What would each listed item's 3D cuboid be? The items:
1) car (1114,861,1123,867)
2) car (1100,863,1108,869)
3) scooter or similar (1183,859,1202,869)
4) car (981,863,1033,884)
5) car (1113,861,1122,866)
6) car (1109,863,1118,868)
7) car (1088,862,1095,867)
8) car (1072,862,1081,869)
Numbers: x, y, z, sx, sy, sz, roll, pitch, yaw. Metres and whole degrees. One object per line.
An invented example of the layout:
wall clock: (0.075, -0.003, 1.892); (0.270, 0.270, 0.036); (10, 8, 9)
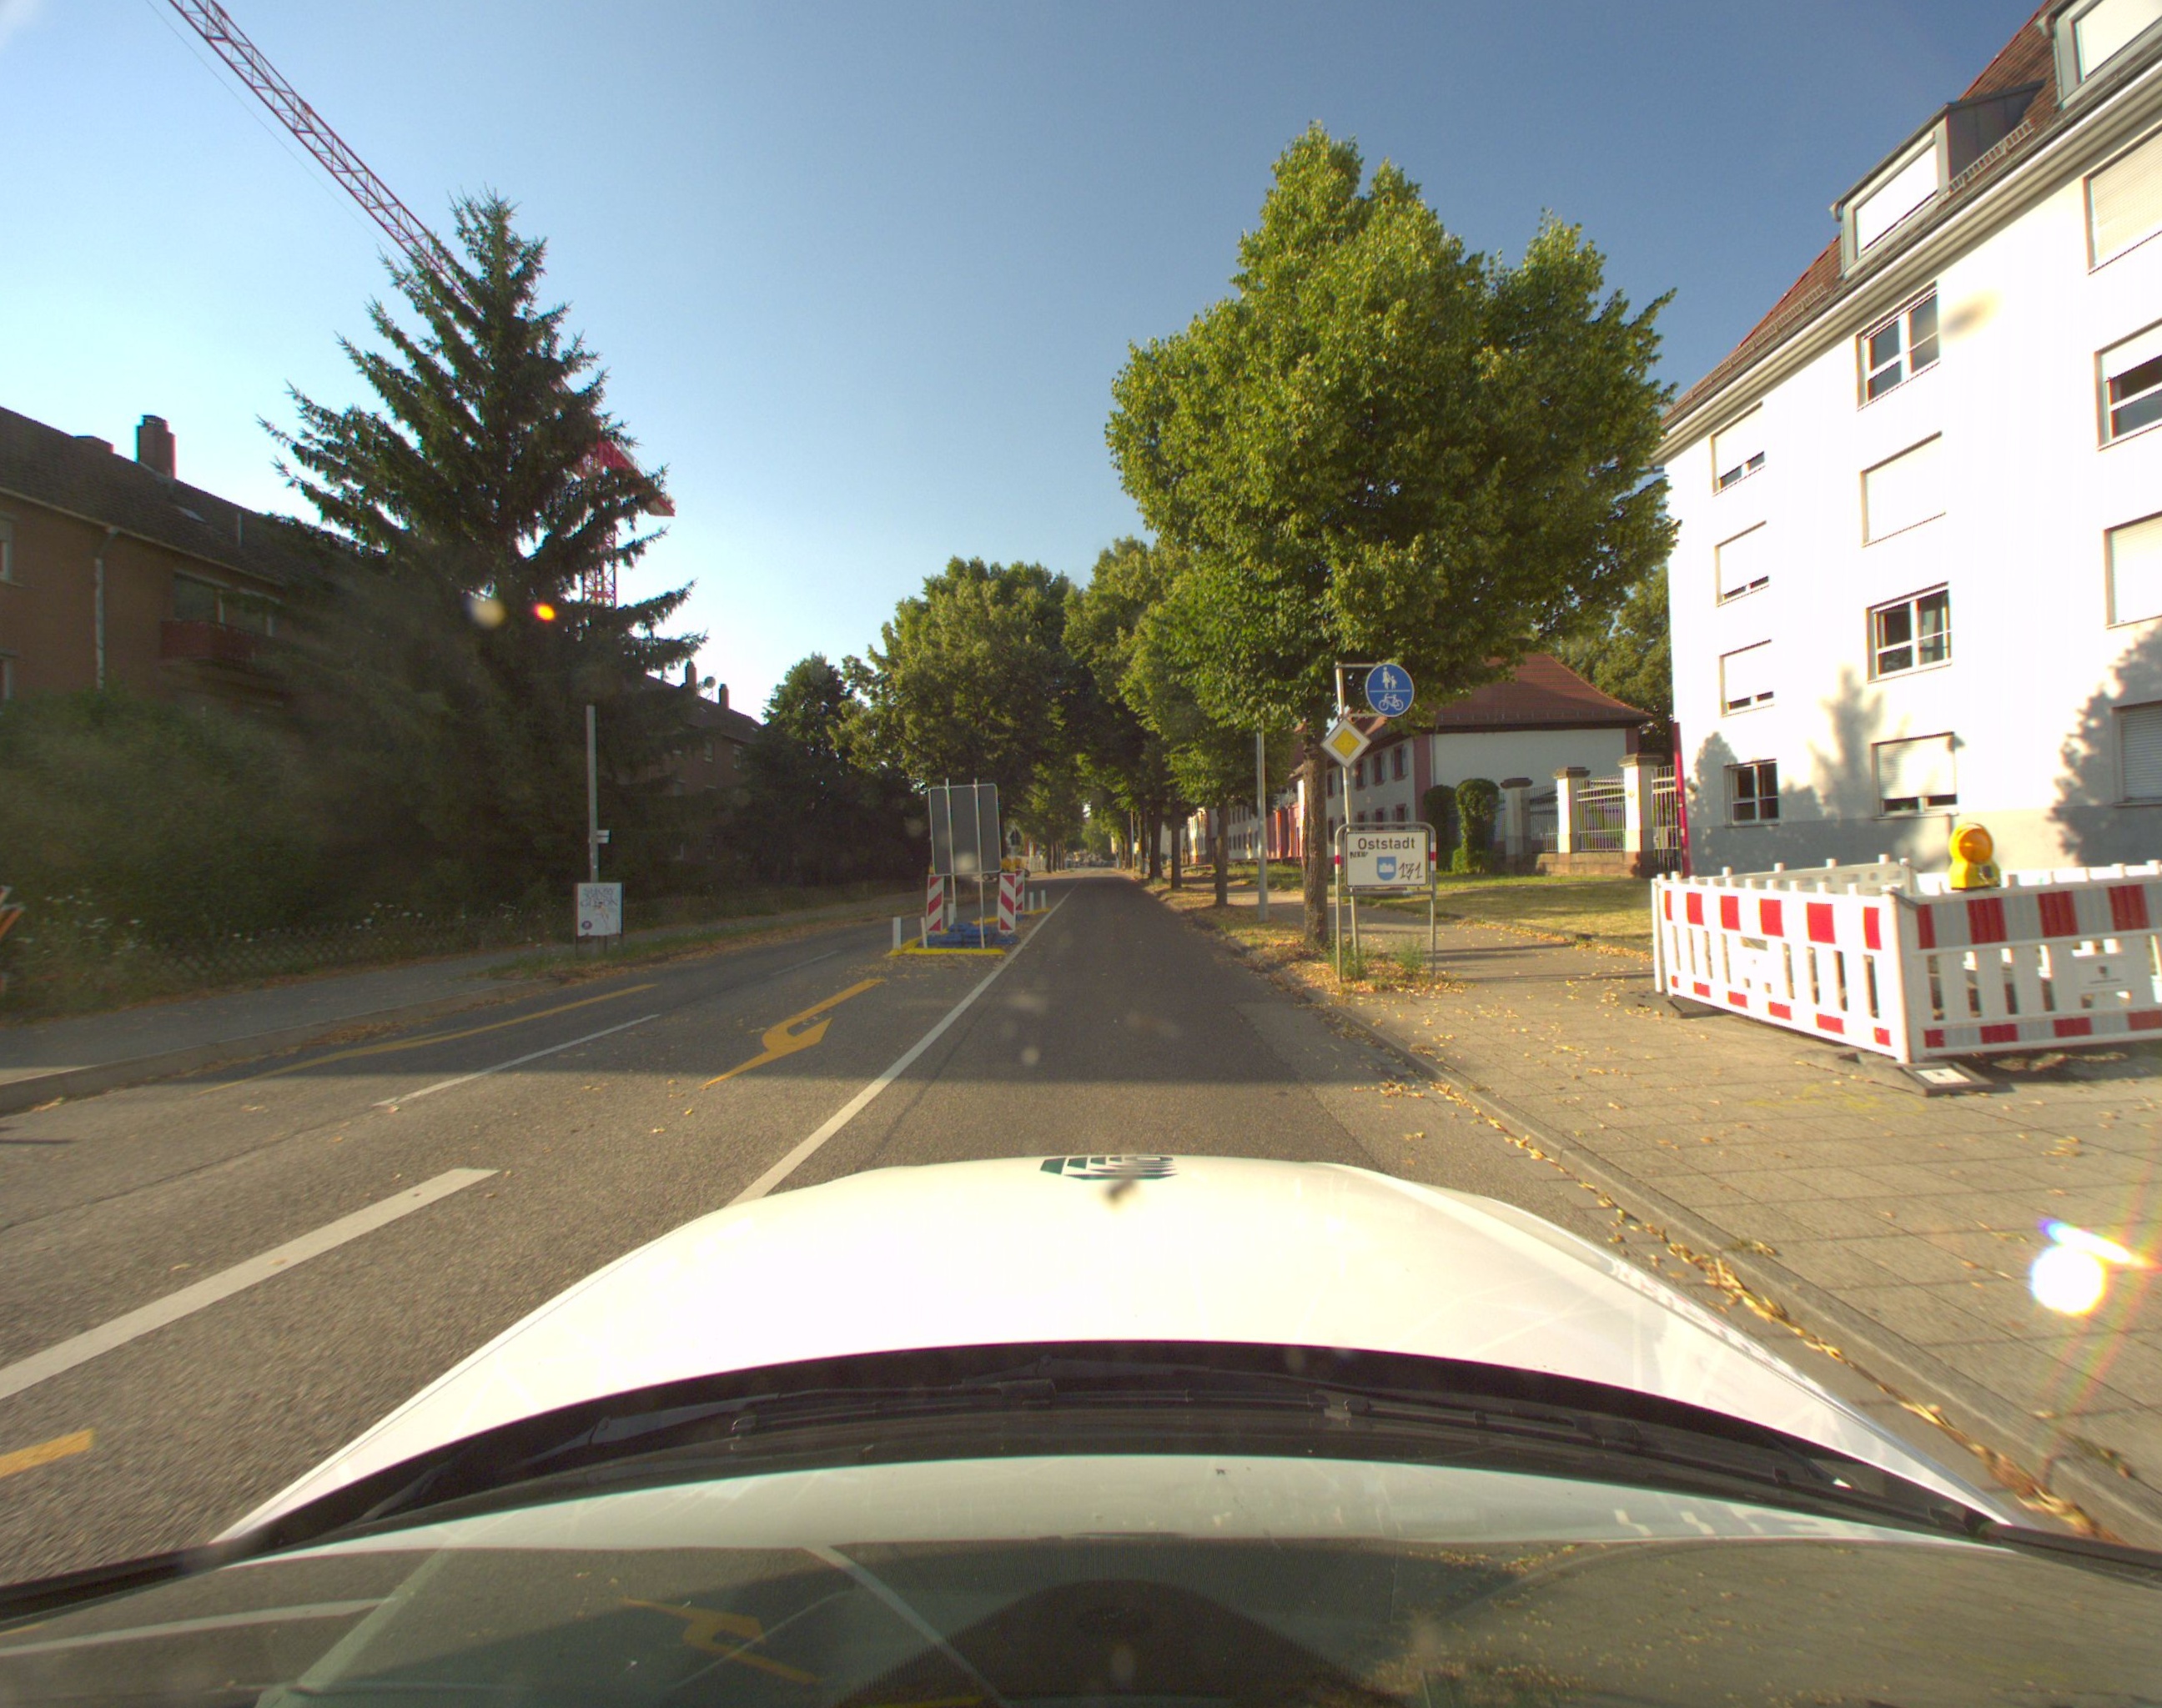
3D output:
car: (8.386, 2.203, 182.937); (1.835, 1.261, 4.000); (-3, -1, 1)
car: (6.491, 3.386, 229.449); (1.836, 1.386, 3.996); (-3, -1, -2)
scooter or similar: (8.077, 0.727, 58.976); (1.221, 0.548, 1.064); (-11, 0, 1)
car: (-5.911, 1.565, 65.185); (3.828, 1.473, 1.652); (-2, 0, 3)
car: (8.708, 2.209, 193.674); (1.833, 1.261, 4.004); (-1, -1, 3)
car: (7.988, 2.846, 200.383); (1.835, 1.261, 4.000); (-3, -1, 1)
car: (3.160, 3.065, 238.907); (1.710, 1.486, 3.996); (-3, -1, -2)
car: (-1.209, 2.957, 205.520); (1.990, 1.688, 3.993); (-2, -1, -4)
